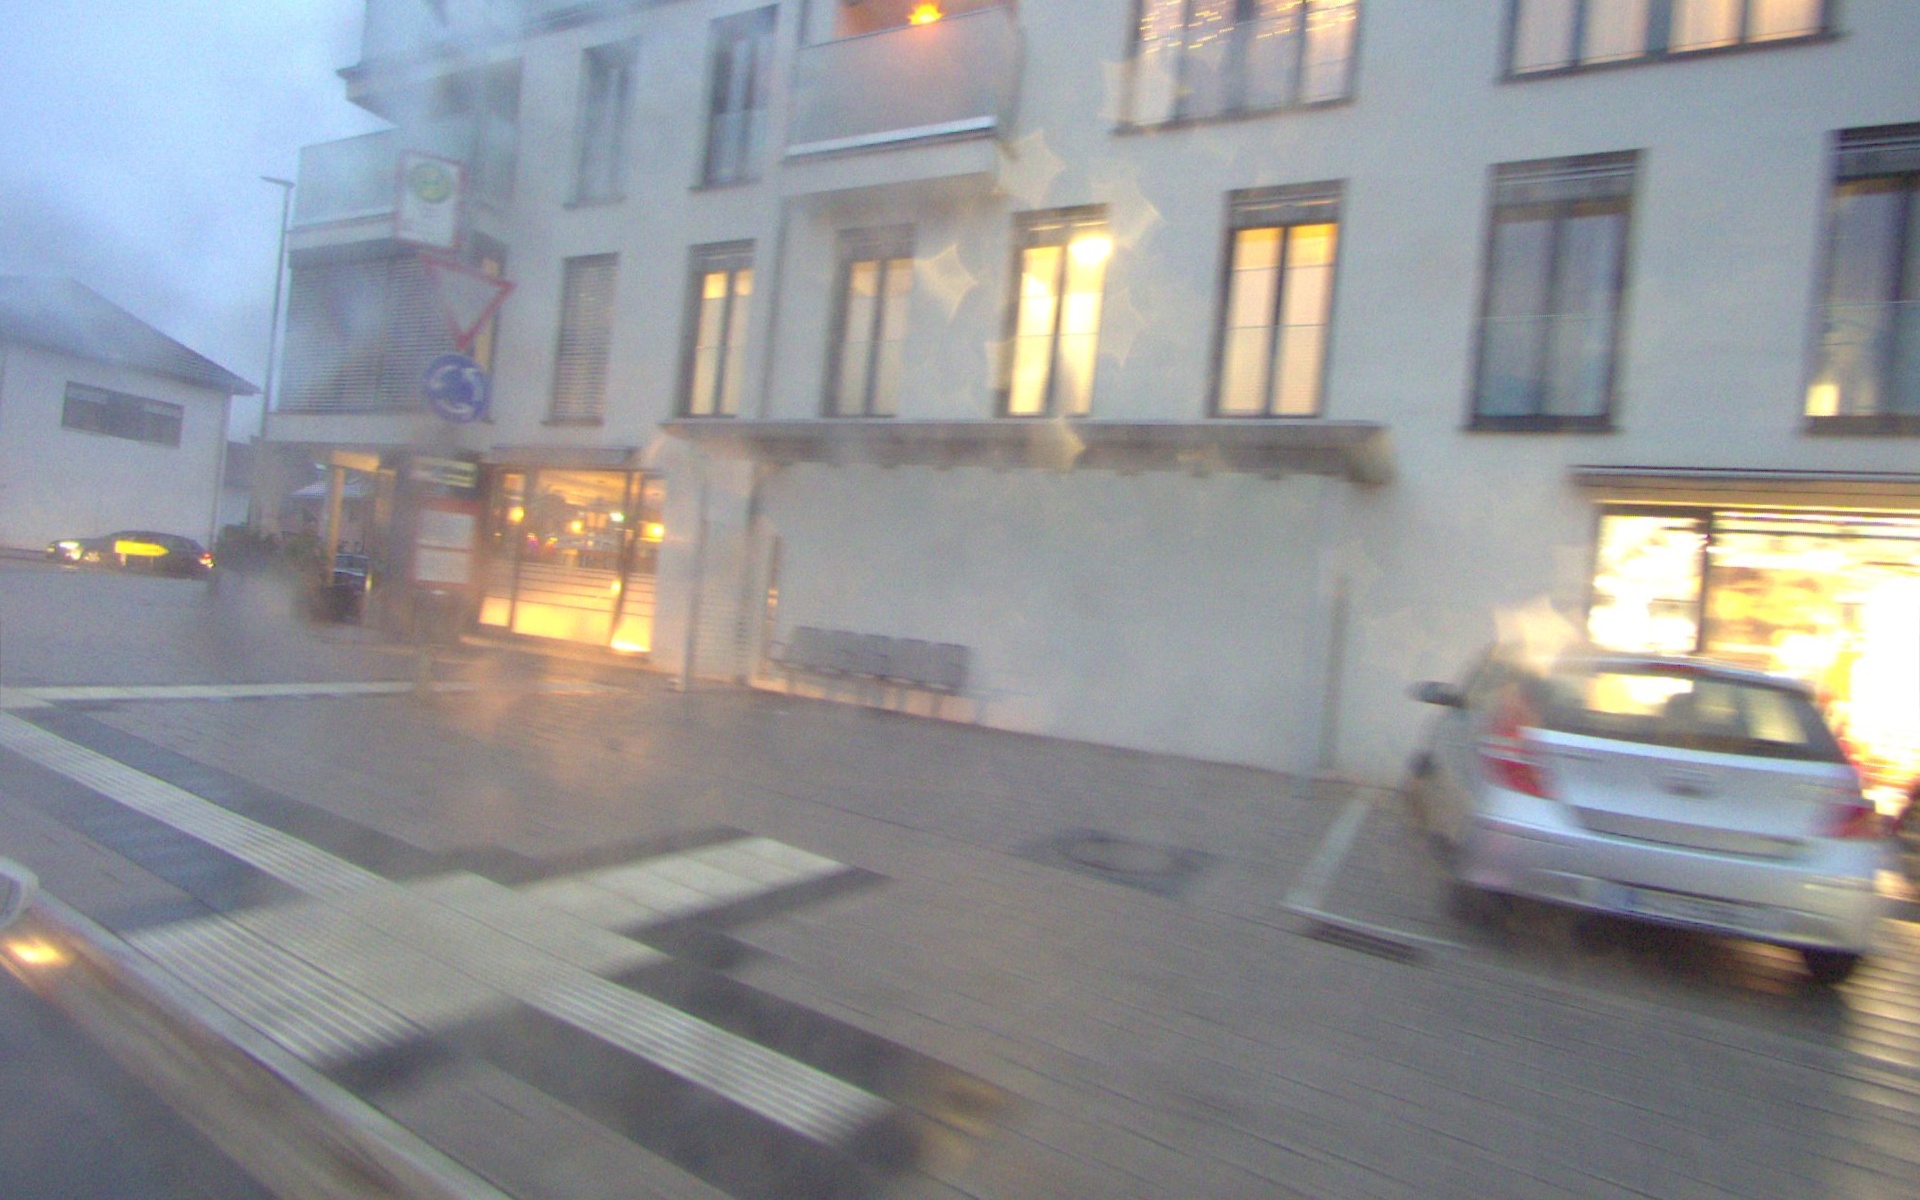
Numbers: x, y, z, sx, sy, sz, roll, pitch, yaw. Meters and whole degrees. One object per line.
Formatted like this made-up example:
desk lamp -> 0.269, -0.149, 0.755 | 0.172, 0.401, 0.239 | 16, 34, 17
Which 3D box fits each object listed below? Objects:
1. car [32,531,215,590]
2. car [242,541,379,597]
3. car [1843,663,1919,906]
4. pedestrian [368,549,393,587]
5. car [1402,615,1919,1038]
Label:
car -> -27.631, -1.270, 33.383 | 1.819, 1.399, 4.232 | 3, -4, 28
car -> -24.769, -1.145, 38.497 | 1.669, 1.570, 3.995 | 5, -3, 31
car -> 6.603, 1.238, 4.896 | 1.939, 1.511, 4.518 | 6, 1, 22
pedestrian -> -26.922, -1.504, 46.748 | 0.574, 1.641, 0.715 | 8, 0, 40
car -> 3.865, 0.935, 6.091 | 1.780, 1.523, 3.996 | 6, 1, 20
